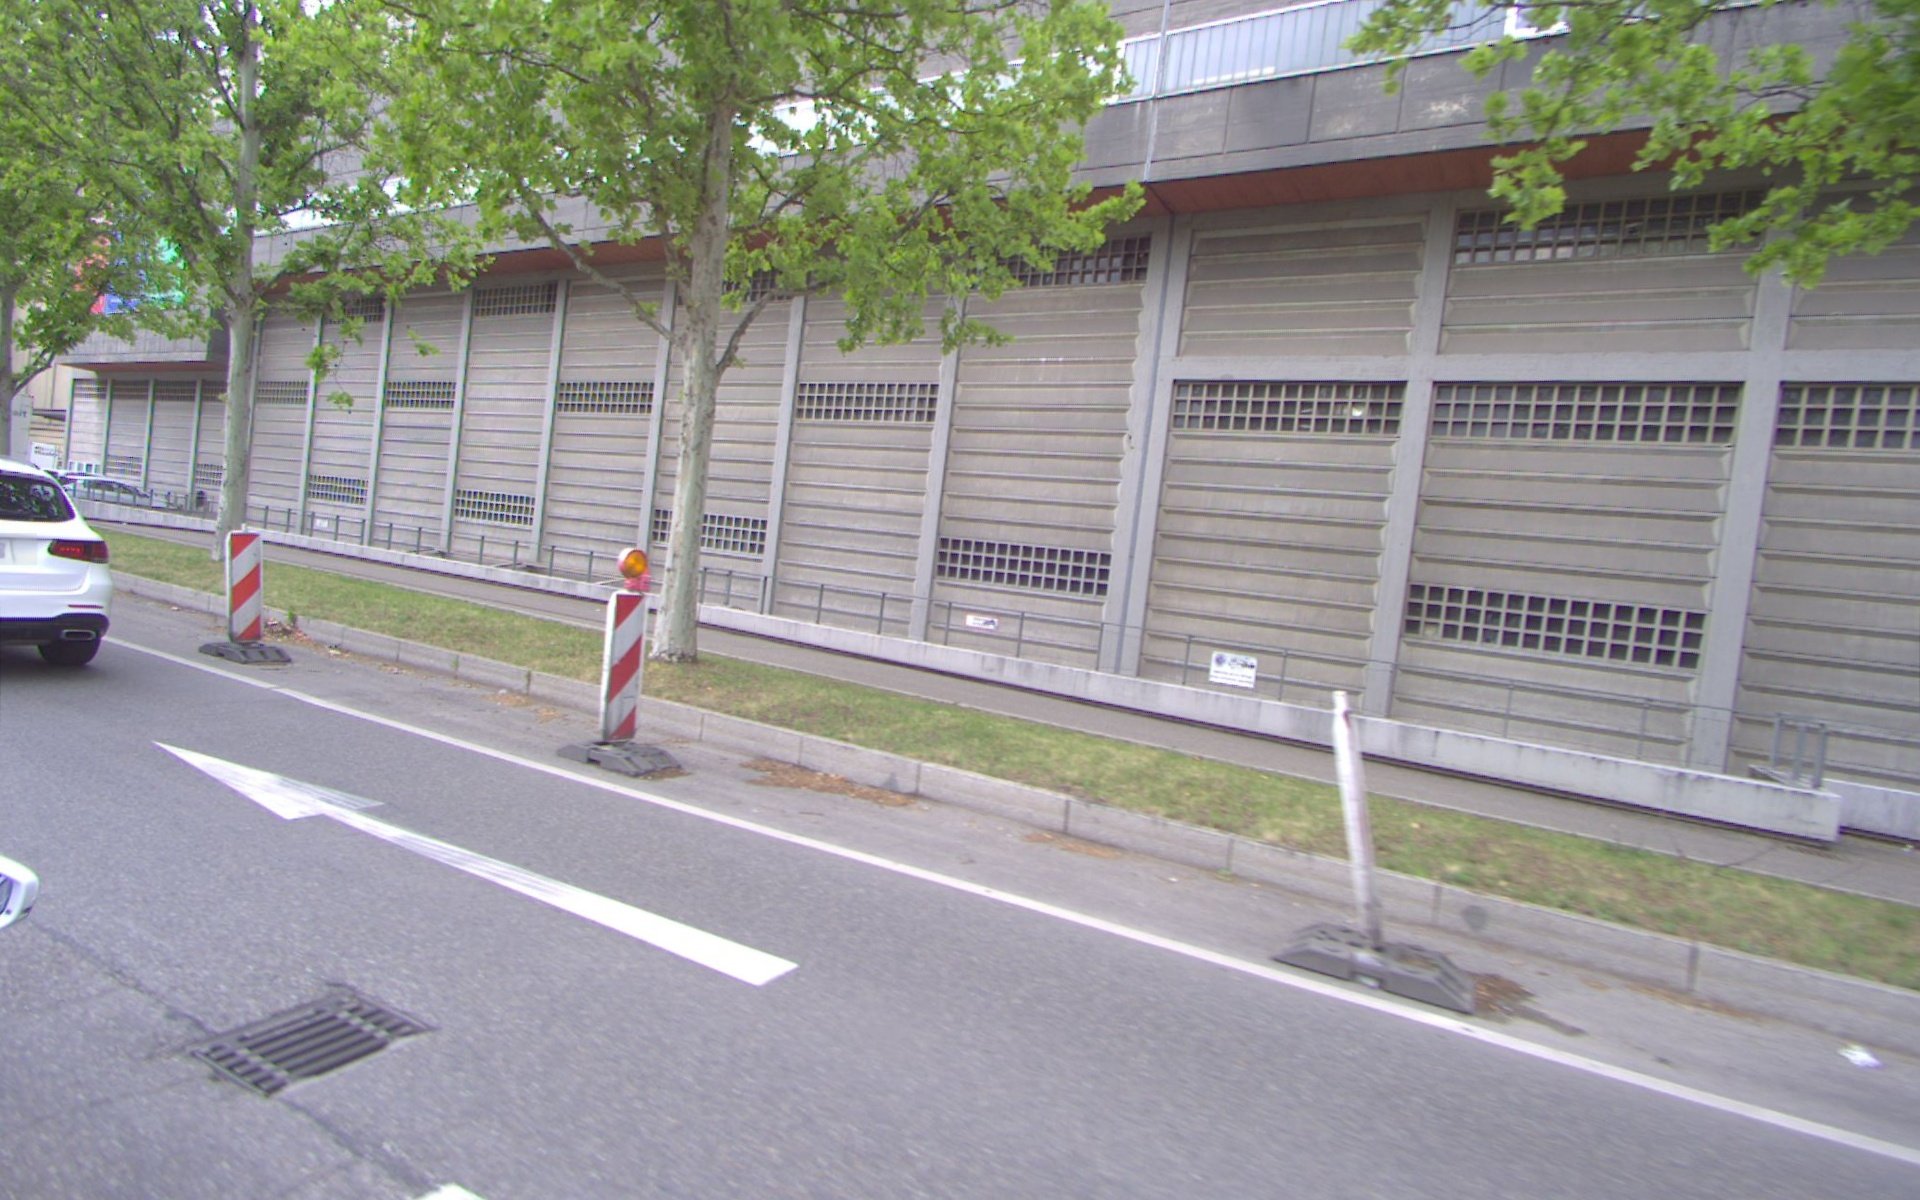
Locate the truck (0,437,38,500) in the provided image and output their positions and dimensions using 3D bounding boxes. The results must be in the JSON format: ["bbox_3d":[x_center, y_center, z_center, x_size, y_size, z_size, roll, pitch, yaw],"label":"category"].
[{"bbox_3d":[-52.677,-7.197,49.772,2.525,3.089,10.040,6,1,30],"label":"truck"}]

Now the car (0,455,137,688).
[{"bbox_3d":[-8.869,-0.450,8.191,4.473,1.665,1.812,8,4,29],"label":"car"}]
